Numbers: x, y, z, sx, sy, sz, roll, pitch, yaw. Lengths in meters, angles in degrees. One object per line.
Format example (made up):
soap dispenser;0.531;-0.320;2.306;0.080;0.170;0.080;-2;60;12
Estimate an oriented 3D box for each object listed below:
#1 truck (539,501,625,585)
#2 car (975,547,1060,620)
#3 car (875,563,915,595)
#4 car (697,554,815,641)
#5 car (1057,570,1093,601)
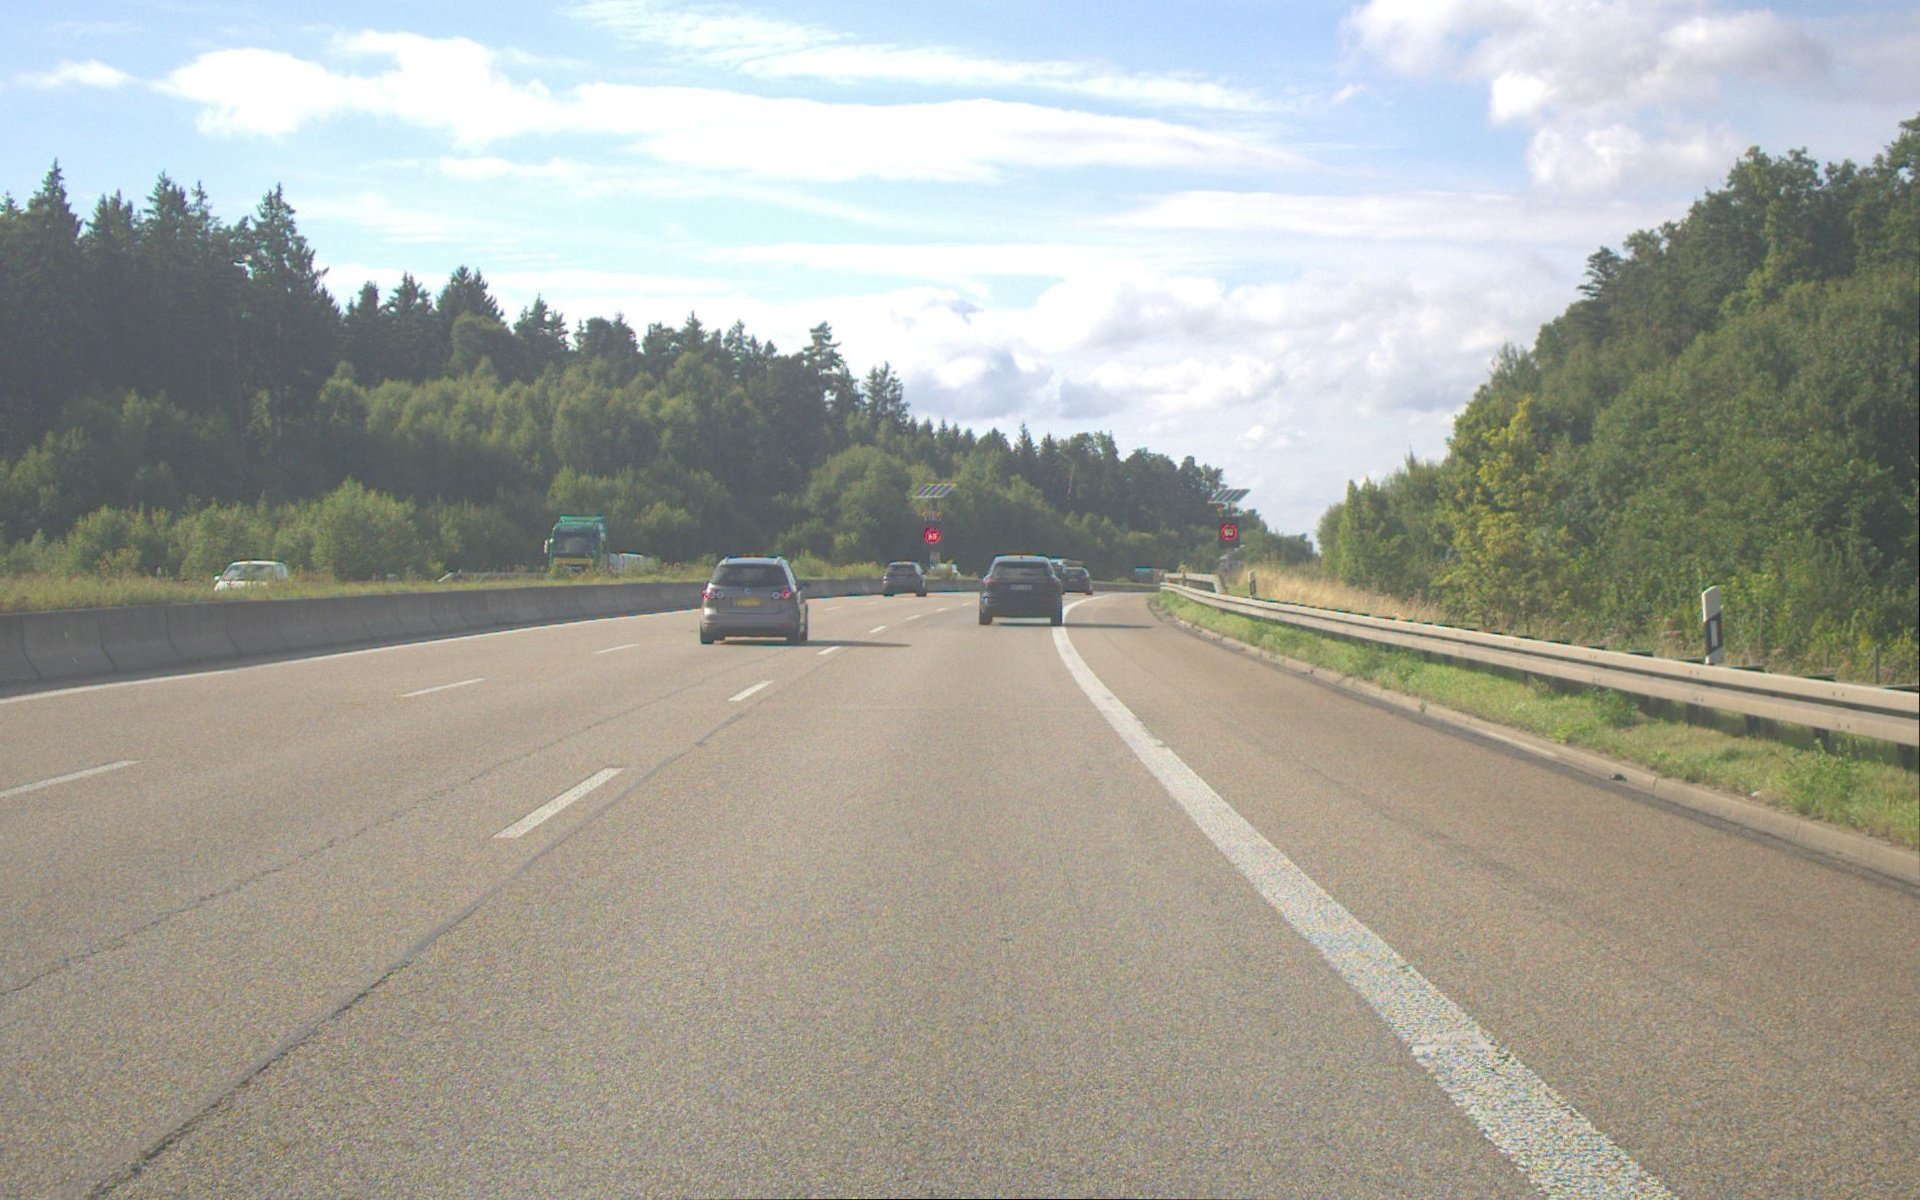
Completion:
truck;-18.405;-2.752;167.747;3.375;3.995;5.863;1;1;2
car;1.326;-0.409;80.868;1.873;1.669;3.890;0;1;0
car;-3.147;-1.037;165.499;1.873;1.492;3.880;0;1;-1
car;-3.665;-0.069;62.301;1.873;1.492;3.880;0;1;0
car;6.326;-0.804;188.798;1.812;1.700;3.999;0;1;5
